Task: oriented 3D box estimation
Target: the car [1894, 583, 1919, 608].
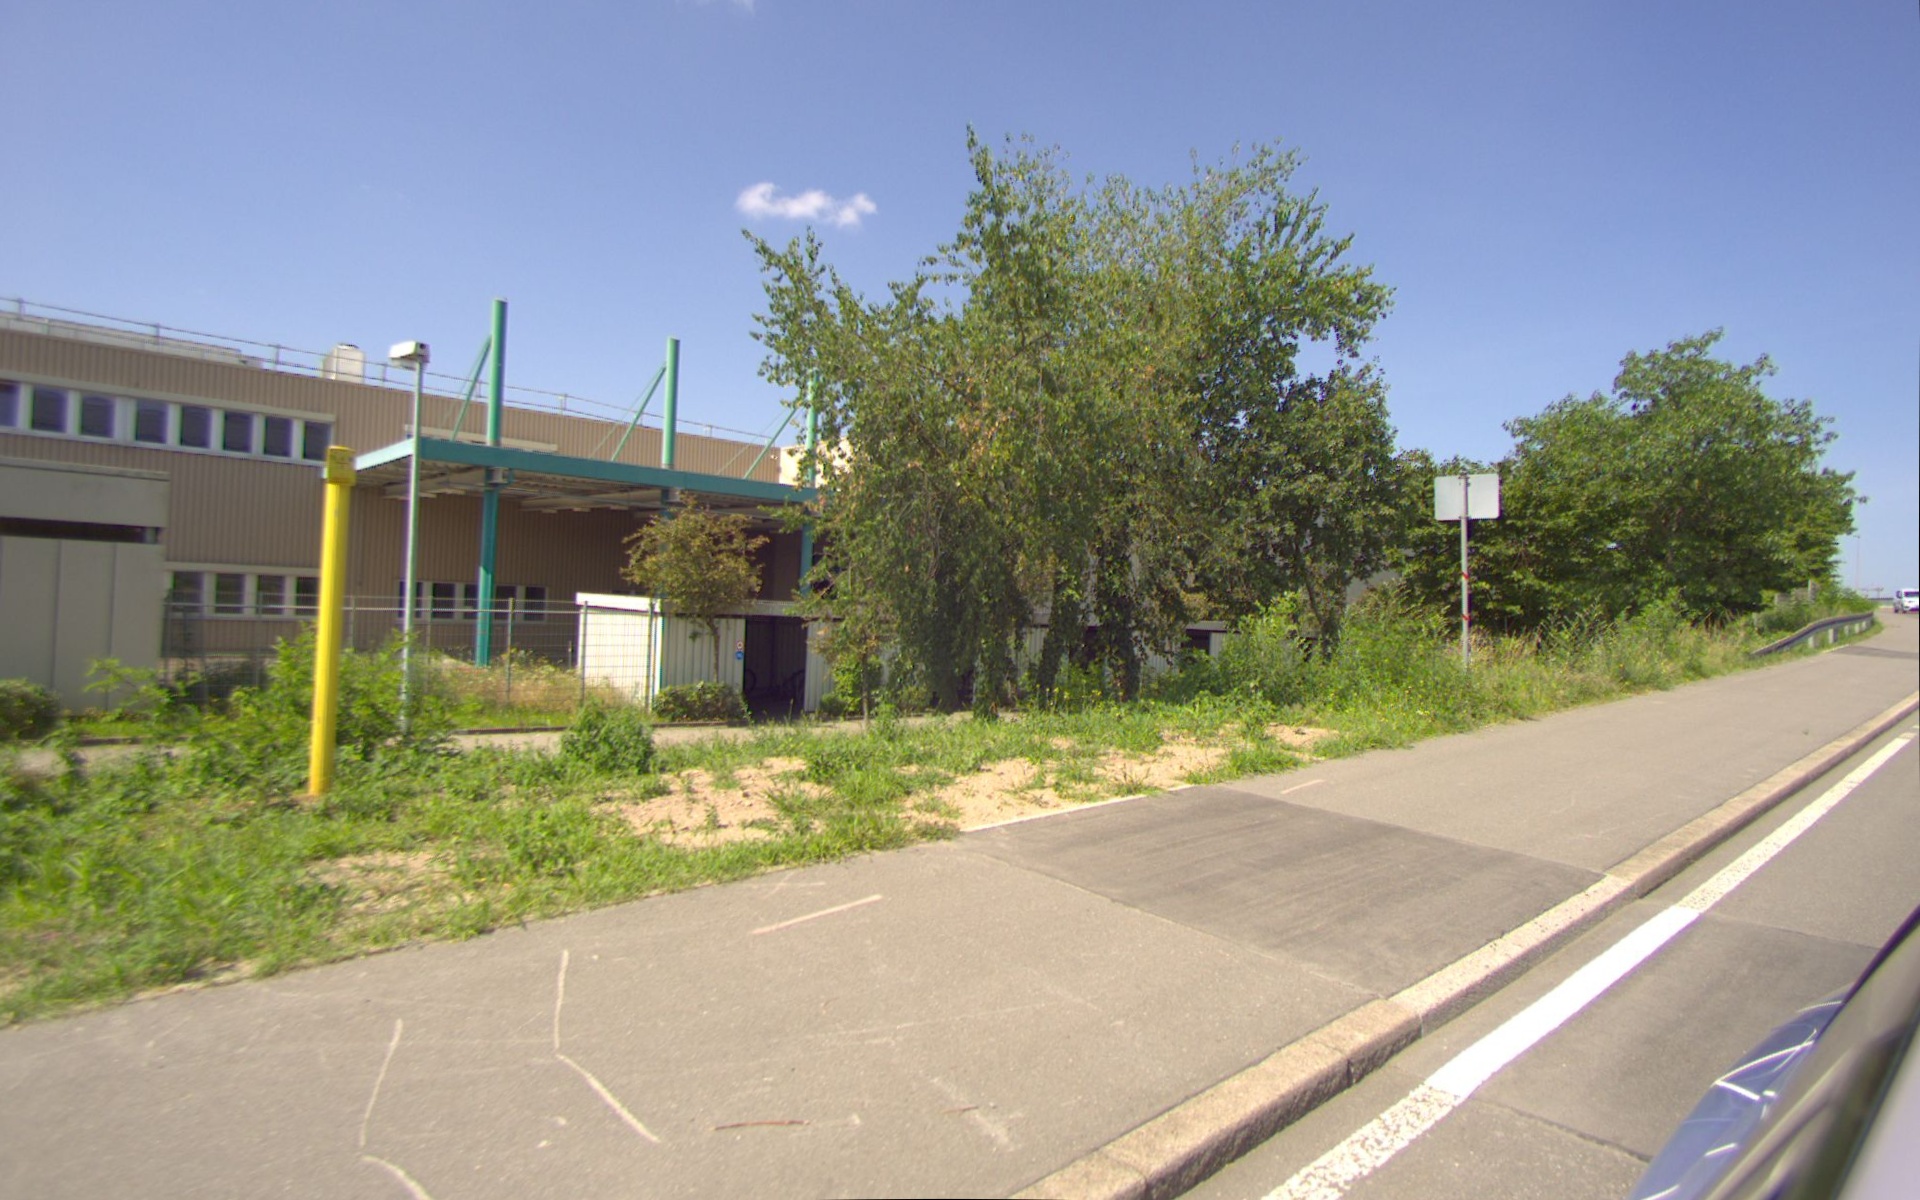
[{"bbox_3d":[71.076,-0.298,74.569,2.072,1.783,4.246,-1,-1,25],"label":"car"}]
